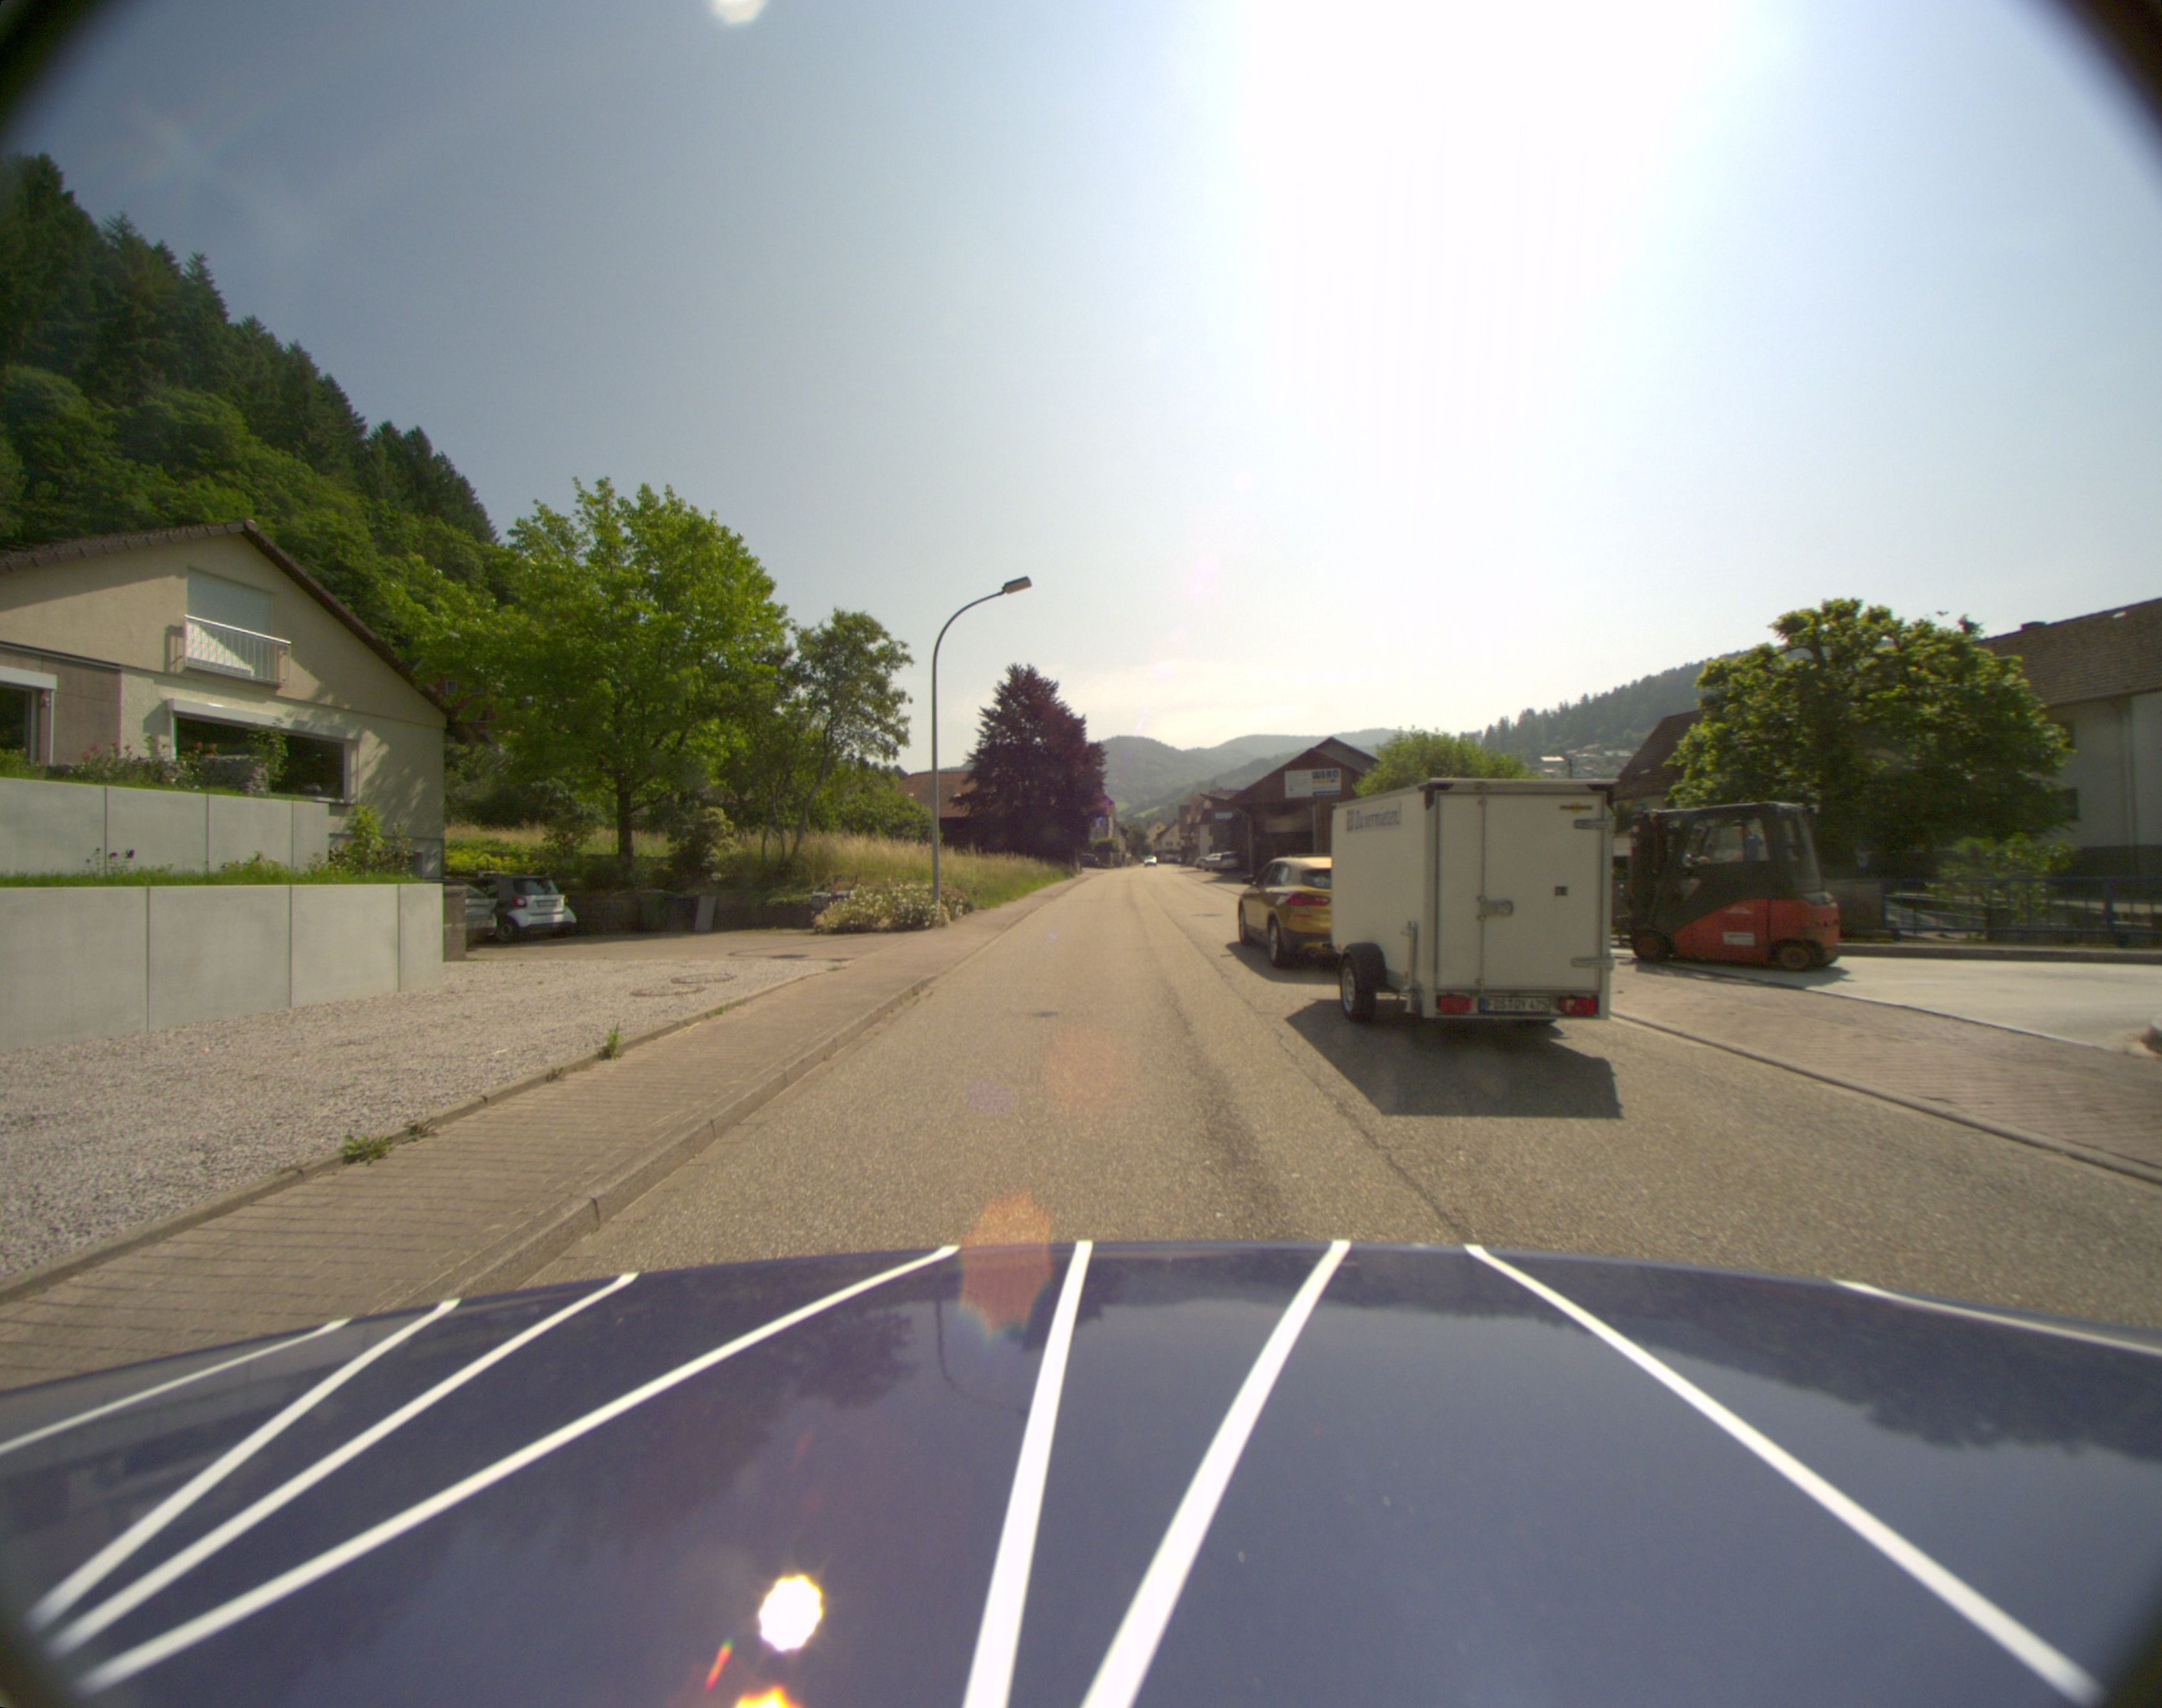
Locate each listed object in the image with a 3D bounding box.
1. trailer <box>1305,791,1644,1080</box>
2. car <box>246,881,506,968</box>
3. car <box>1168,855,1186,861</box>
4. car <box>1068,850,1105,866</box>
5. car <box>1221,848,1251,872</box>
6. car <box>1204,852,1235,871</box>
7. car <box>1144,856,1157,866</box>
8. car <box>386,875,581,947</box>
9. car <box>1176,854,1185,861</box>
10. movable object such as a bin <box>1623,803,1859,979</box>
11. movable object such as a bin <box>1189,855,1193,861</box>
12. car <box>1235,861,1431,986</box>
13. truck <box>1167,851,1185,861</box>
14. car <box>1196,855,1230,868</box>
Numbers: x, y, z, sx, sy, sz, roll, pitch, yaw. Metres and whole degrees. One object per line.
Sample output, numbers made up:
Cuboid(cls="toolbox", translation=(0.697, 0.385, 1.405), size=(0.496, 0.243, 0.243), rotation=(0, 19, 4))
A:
Cuboid(cls="trailer", translation=(3.355, 0.585, 7.284), size=(1.470, 2.065, 3.671), rotation=(0, 0, 2))
Cuboid(cls="car", translation=(-13.480, 1.328, 14.621), size=(3.740, 1.462, 1.724), rotation=(-2, 0, 10))
Cuboid(cls="car", translation=(23.187, 0.969, 183.401), size=(4.103, 1.494, 1.754), rotation=(-1, 0, 6))
Cuboid(cls="car", translation=(0.679, 0.454, 92.280), size=(4.227, 1.677, 1.778), rotation=(4, 1, 11))
Cuboid(cls="car", translation=(11.662, 0.437, 56.882), size=(1.583, 1.560, 4.029), rotation=(-4, -1, 19))
Cuboid(cls="car", translation=(12.127, 0.631, 66.086), size=(1.730, 1.445, 4.811), rotation=(-1, 1, 21))
Cuboid(cls="car", translation=(11.495, 1.118, 125.717), size=(1.998, 1.672, 4.001), rotation=(0, 0, 4))
Cuboid(cls="car", translation=(-13.715, 1.283, 17.552), size=(3.225, 1.489, 1.755), rotation=(-1, 0, 8))
Cuboid(cls="car", translation=(22.985, 0.888, 174.904), size=(1.773, 1.544, 4.287), rotation=(-2, 0, 5))
Cuboid(cls="movable object such as a bin", translation=(8.679, 0.439, 10.099), size=(1.138, 2.060, 2.121), rotation=(0, 0, -32))
Cuboid(cls="movable object such as a bin", translation=(17.815, 0.661, 123.174), size=(0.677, 1.060, 0.622), rotation=(-1, 0, 6))
Cuboid(cls="car", translation=(3.508, 0.865, 11.413), size=(1.817, 1.492, 4.150), rotation=(0, 0, 4))
Cuboid(cls="truck", translation=(23.477, 0.568, 188.369), size=(4.175, 2.253, 2.000), rotation=(-2, 0, 2))
Cuboid(cls="car", translation=(15.807, 0.888, 90.751), size=(3.661, 1.377, 1.714), rotation=(3, 1, 23))
